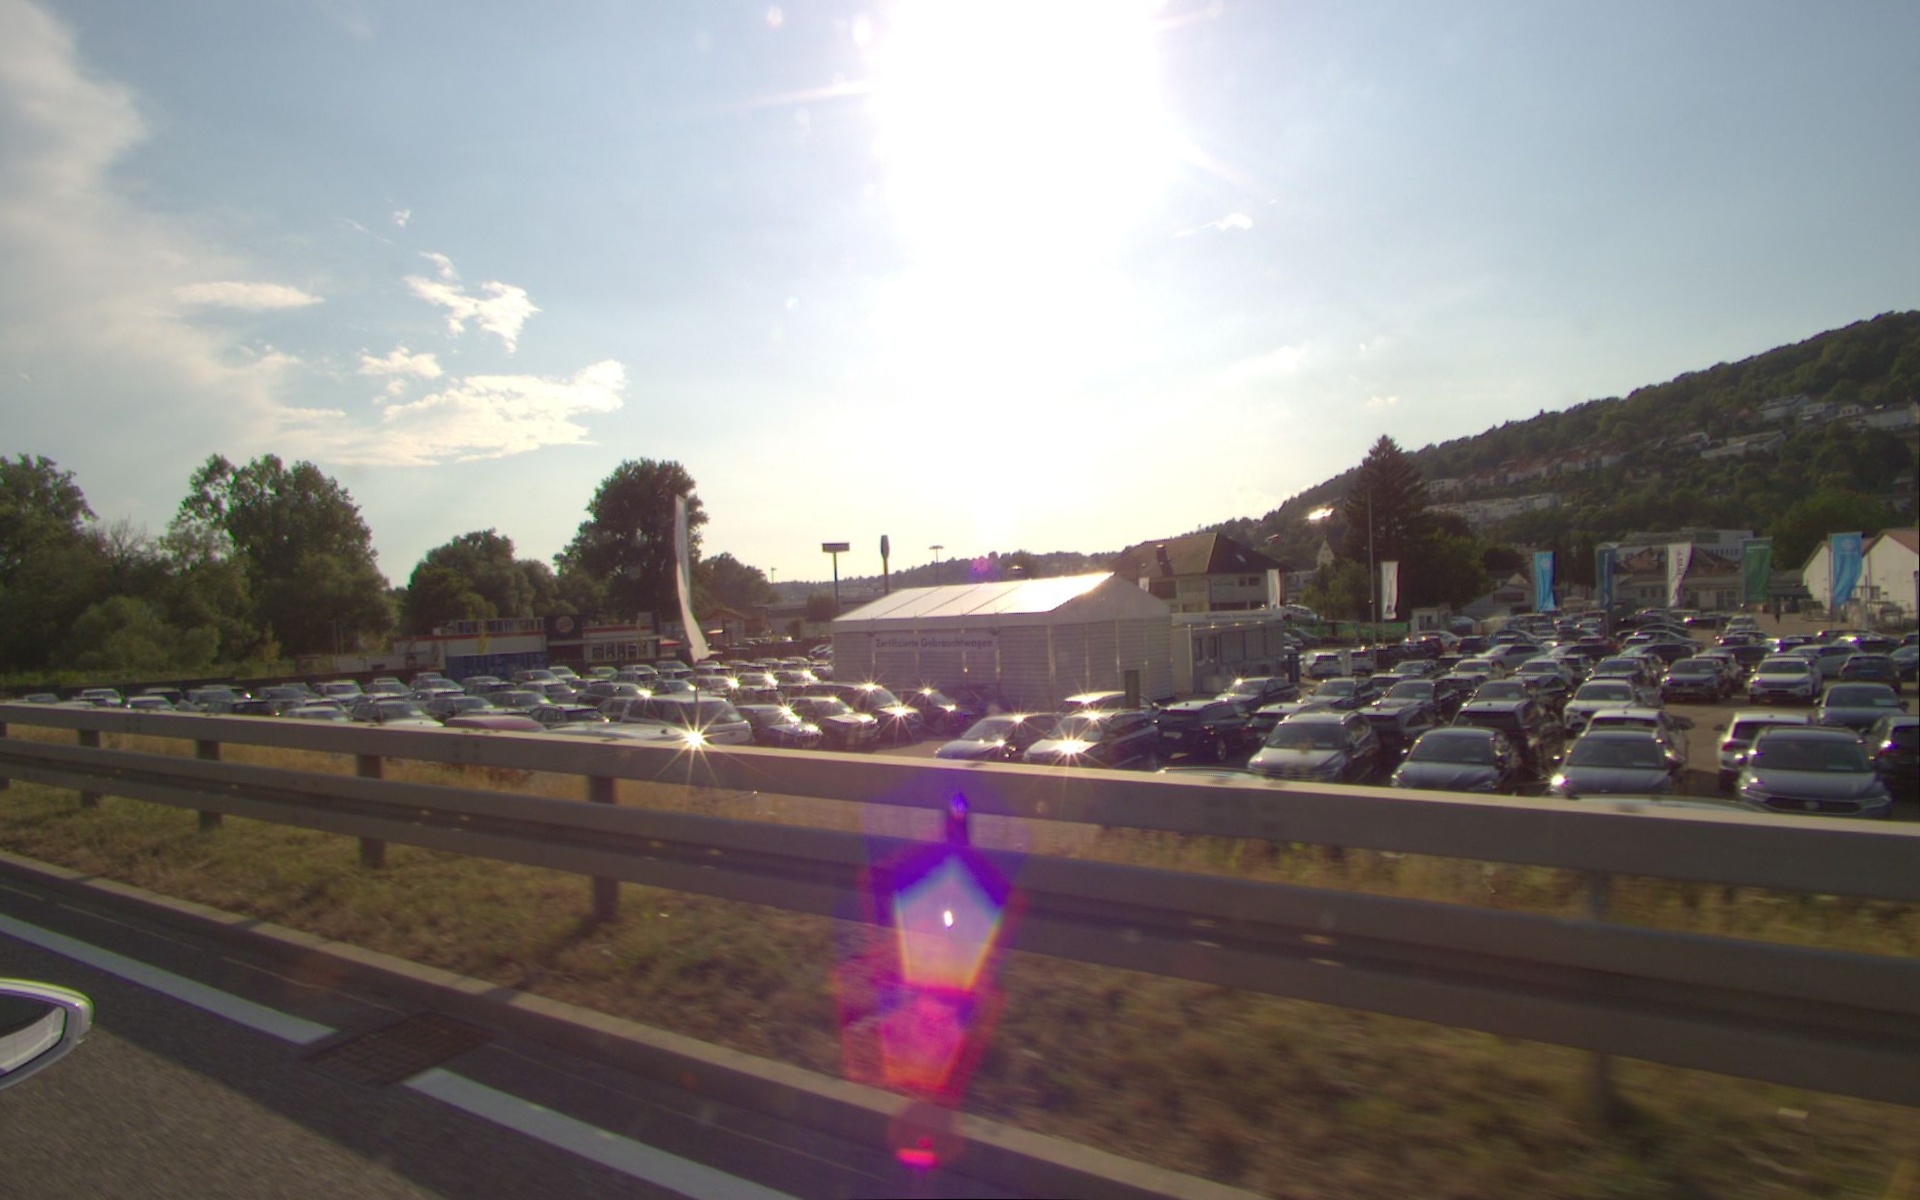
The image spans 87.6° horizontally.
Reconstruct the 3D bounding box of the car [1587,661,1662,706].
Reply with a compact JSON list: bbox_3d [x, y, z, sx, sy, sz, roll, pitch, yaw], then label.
[{"bbox_3d":[26.265,3.255,39.519,1.782,1.562,4.308,-4,-3,43],"label":"car"}]

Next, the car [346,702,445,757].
[{"bbox_3d":[-20.531,4.648,36.366,3.952,1.705,1.768,-4,-3,38],"label":"car"}]

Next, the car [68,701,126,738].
[{"bbox_3d":[-44.972,6.174,52.155,4.202,1.662,1.942,-4,-3,44],"label":"car"}]

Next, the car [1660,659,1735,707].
[{"bbox_3d":[27.945,3.100,37.895,1.782,1.562,4.308,-4,-3,43],"label":"car"}]

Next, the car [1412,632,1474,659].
[{"bbox_3d":[38.044,3.577,78.897,1.981,2.039,3.963,0,-3,-44],"label":"car"}]

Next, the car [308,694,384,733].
[{"bbox_3d":[-29.712,5.458,48.428,3.950,1.705,1.769,-4,-3,37],"label":"car"}]

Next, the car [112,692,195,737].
[{"bbox_3d":[-34.160,4.795,42.381,3.948,1.705,1.770,-3,-3,35],"label":"car"}]

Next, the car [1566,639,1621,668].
[{"bbox_3d":[41.229,3.444,65.176,3.957,1.739,1.983,1,-2,-41],"label":"car"}]

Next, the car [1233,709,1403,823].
[{"bbox_3d":[7.255,3.182,20.019,1.820,1.687,4.401,-3,-3,39],"label":"car"}]

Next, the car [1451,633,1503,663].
[{"bbox_3d":[36.667,3.394,70.970,3.957,2.039,1.983,0,-2,-41],"label":"car"}]

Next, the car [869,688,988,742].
[{"bbox_3d":[-1.135,3.957,34.944,3.952,1.705,1.768,-4,-3,38],"label":"car"}]

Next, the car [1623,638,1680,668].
[{"bbox_3d":[43.321,3.268,62.699,3.957,1.739,1.983,1,-2,-41],"label":"car"}]

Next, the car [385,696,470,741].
[{"bbox_3d":[-22.893,5.061,43.018,3.952,1.705,1.768,-4,-3,38],"label":"car"}]

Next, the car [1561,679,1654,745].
[{"bbox_3d":[18.760,3.151,28.924,1.780,1.562,4.401,-3,-3,39],"label":"car"}]

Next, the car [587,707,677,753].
[{"bbox_3d":[-14.116,5.518,42.971,3.952,1.705,1.768,-4,-3,38],"label":"car"}]

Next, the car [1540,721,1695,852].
[{"bbox_3d":[11.403,3.063,17.244,1.780,1.562,4.401,-3,-3,39],"label":"car"}]

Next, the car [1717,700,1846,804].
[{"bbox_3d":[16.484,2.945,20.183,1.780,1.562,4.401,-3,-3,39],"label":"car"}]

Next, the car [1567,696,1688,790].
[{"bbox_3d":[14.679,3.026,21.910,1.780,1.562,4.401,-3,-3,39],"label":"car"}]

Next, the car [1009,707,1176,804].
[{"bbox_3d":[3.128,3.450,22.962,1.779,1.628,4.401,-1,-2,39],"label":"car"}]

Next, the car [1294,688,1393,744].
[{"bbox_3d":[12.971,3.850,33.734,1.763,1.584,3.966,-4,-3,42],"label":"car"}]

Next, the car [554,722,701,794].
[{"bbox_3d":[-8.556,3.965,25.622,3.952,1.490,1.664,-4,-3,38],"label":"car"}]

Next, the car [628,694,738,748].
[{"bbox_3d":[-9.851,4.239,35.469,3.952,1.705,1.768,-4,-3,38],"label":"car"}]

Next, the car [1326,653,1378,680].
[{"bbox_3d":[23.306,3.941,59.678,1.770,1.474,4.002,-2,-3,5],"label":"car"}]

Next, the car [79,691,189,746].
[{"bbox_3d":[-28.512,4.041,34.539,3.944,1.705,1.772,-3,-3,32],"label":"car"}]

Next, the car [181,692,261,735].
[{"bbox_3d":[-32.580,4.947,44.118,3.950,1.705,1.769,-4,-3,37],"label":"car"}]

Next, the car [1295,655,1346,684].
[{"bbox_3d":[20.537,3.942,57.202,1.770,1.474,4.002,-2,-3,5],"label":"car"}]

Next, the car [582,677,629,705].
[{"bbox_3d":[-23.992,6.120,67.657,1.734,1.816,3.749,0,-3,-41],"label":"car"}]

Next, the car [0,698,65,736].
[{"bbox_3d":[-40.744,5.066,43.653,3.947,1.482,1.702,-3,-3,34],"label":"car"}]

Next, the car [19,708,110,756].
[{"bbox_3d":[-36.029,5.263,40.267,3.945,1.705,1.772,-3,-3,33],"label":"car"}]

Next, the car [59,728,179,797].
[{"bbox_3d":[-24.591,4.685,29.261,3.782,1.699,1.610,-3,-3,32],"label":"car"}]

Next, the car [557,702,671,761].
[{"bbox_3d":[-11.658,4.351,33.629,3.952,1.705,1.768,-4,-3,38],"label":"car"}]

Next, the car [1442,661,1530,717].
[{"bbox_3d":[18.593,3.084,35.358,1.763,1.749,3.966,-4,-3,42],"label":"car"}]

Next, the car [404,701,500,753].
[{"bbox_3d":[-19.284,4.771,37.961,3.952,1.705,1.768,-4,-3,38],"label":"car"}]

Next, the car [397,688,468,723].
[{"bbox_3d":[-27.676,5.488,52.496,3.950,1.705,1.769,-4,-3,37],"label":"car"}]

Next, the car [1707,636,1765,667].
[{"bbox_3d":[45.473,2.991,58.660,3.957,1.739,1.983,1,-2,-41],"label":"car"}]

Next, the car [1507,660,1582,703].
[{"bbox_3d":[24.266,3.344,41.524,1.782,1.562,4.308,-4,-3,43],"label":"car"}]

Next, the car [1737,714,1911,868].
[{"bbox_3d":[13.476,2.836,15.806,1.780,1.735,4.401,-3,-3,39],"label":"car"}]

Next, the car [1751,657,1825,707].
[{"bbox_3d":[29.787,2.918,35.968,1.782,1.562,4.308,-4,-3,43],"label":"car"}]

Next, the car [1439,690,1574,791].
[{"bbox_3d":[12.397,3.096,22.572,1.781,1.723,4.400,-8,-5,38],"label":"car"}]

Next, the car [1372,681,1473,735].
[{"bbox_3d":[14.961,3.429,32.305,1.763,1.474,3.965,-4,-3,43],"label":"car"}]

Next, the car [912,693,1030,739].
[{"bbox_3d":[0.380,4.207,36.695,3.951,1.482,1.947,-4,-3,37],"label":"car"}]

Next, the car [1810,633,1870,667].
[{"bbox_3d":[48.691,2.735,55.398,3.957,1.739,1.983,1,-2,-41],"label":"car"}]

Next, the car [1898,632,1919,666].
[{"bbox_3d":[51.293,2.568,52.984,3.957,1.739,1.983,1,-2,-41],"label":"car"}]

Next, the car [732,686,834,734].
[{"bbox_3d":[-7.039,4.324,39.673,3.952,1.705,1.768,-4,-3,38],"label":"car"}]

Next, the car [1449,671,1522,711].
[{"bbox_3d":[22.581,3.854,42.968,1.694,1.482,3.964,-4,-3,44],"label":"car"}]
